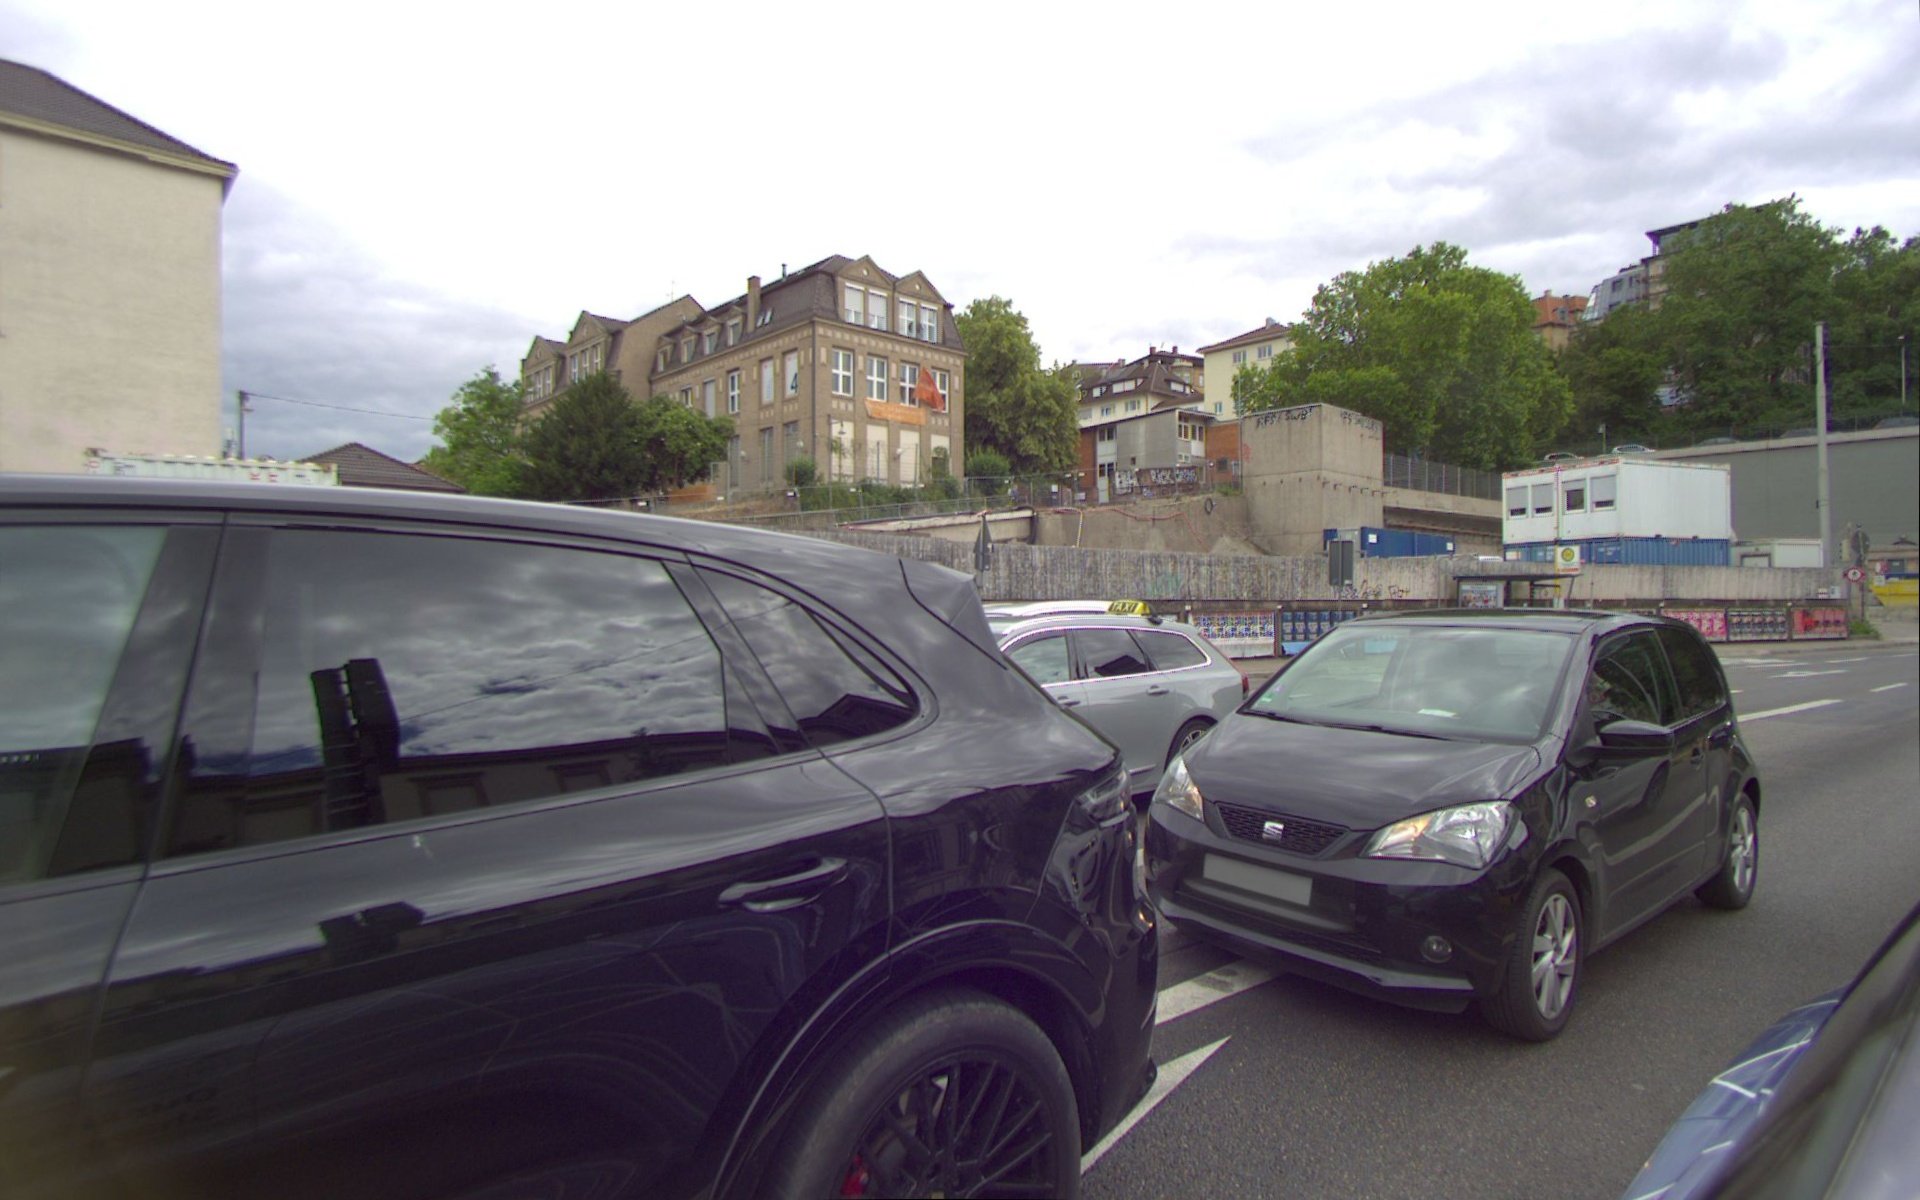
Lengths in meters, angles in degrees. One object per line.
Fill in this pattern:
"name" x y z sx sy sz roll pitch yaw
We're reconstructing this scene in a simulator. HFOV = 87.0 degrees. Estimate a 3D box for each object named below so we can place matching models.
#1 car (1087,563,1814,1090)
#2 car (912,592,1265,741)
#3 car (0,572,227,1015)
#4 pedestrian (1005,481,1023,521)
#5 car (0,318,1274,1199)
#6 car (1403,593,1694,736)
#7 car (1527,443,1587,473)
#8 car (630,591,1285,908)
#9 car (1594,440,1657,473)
"car" 2.523 0.657 4.791 3.812 1.515 1.667 0 -1 -40
"car" 1.730 0.702 12.779 4.465 1.579 1.705 0 0 -36
"car" -4.887 0.690 3.424 3.812 1.563 1.667 0 -1 -40
"pedestrian" 2.869 -5.265 53.857 0.656 2.039 0.644 0 0 -45
"car" -1.626 0.581 1.706 4.552 1.707 1.959 0 -1 -40
"car" 7.796 0.709 13.250 4.467 1.579 1.705 0 0 -37
"car" 50.242 -11.918 85.235 3.988 2.039 1.968 0 1 45
"car" 0.209 0.745 7.254 4.570 1.591 1.826 0 0 -39
"car" 53.558 -11.511 81.446 3.988 2.039 1.968 0 1 45
